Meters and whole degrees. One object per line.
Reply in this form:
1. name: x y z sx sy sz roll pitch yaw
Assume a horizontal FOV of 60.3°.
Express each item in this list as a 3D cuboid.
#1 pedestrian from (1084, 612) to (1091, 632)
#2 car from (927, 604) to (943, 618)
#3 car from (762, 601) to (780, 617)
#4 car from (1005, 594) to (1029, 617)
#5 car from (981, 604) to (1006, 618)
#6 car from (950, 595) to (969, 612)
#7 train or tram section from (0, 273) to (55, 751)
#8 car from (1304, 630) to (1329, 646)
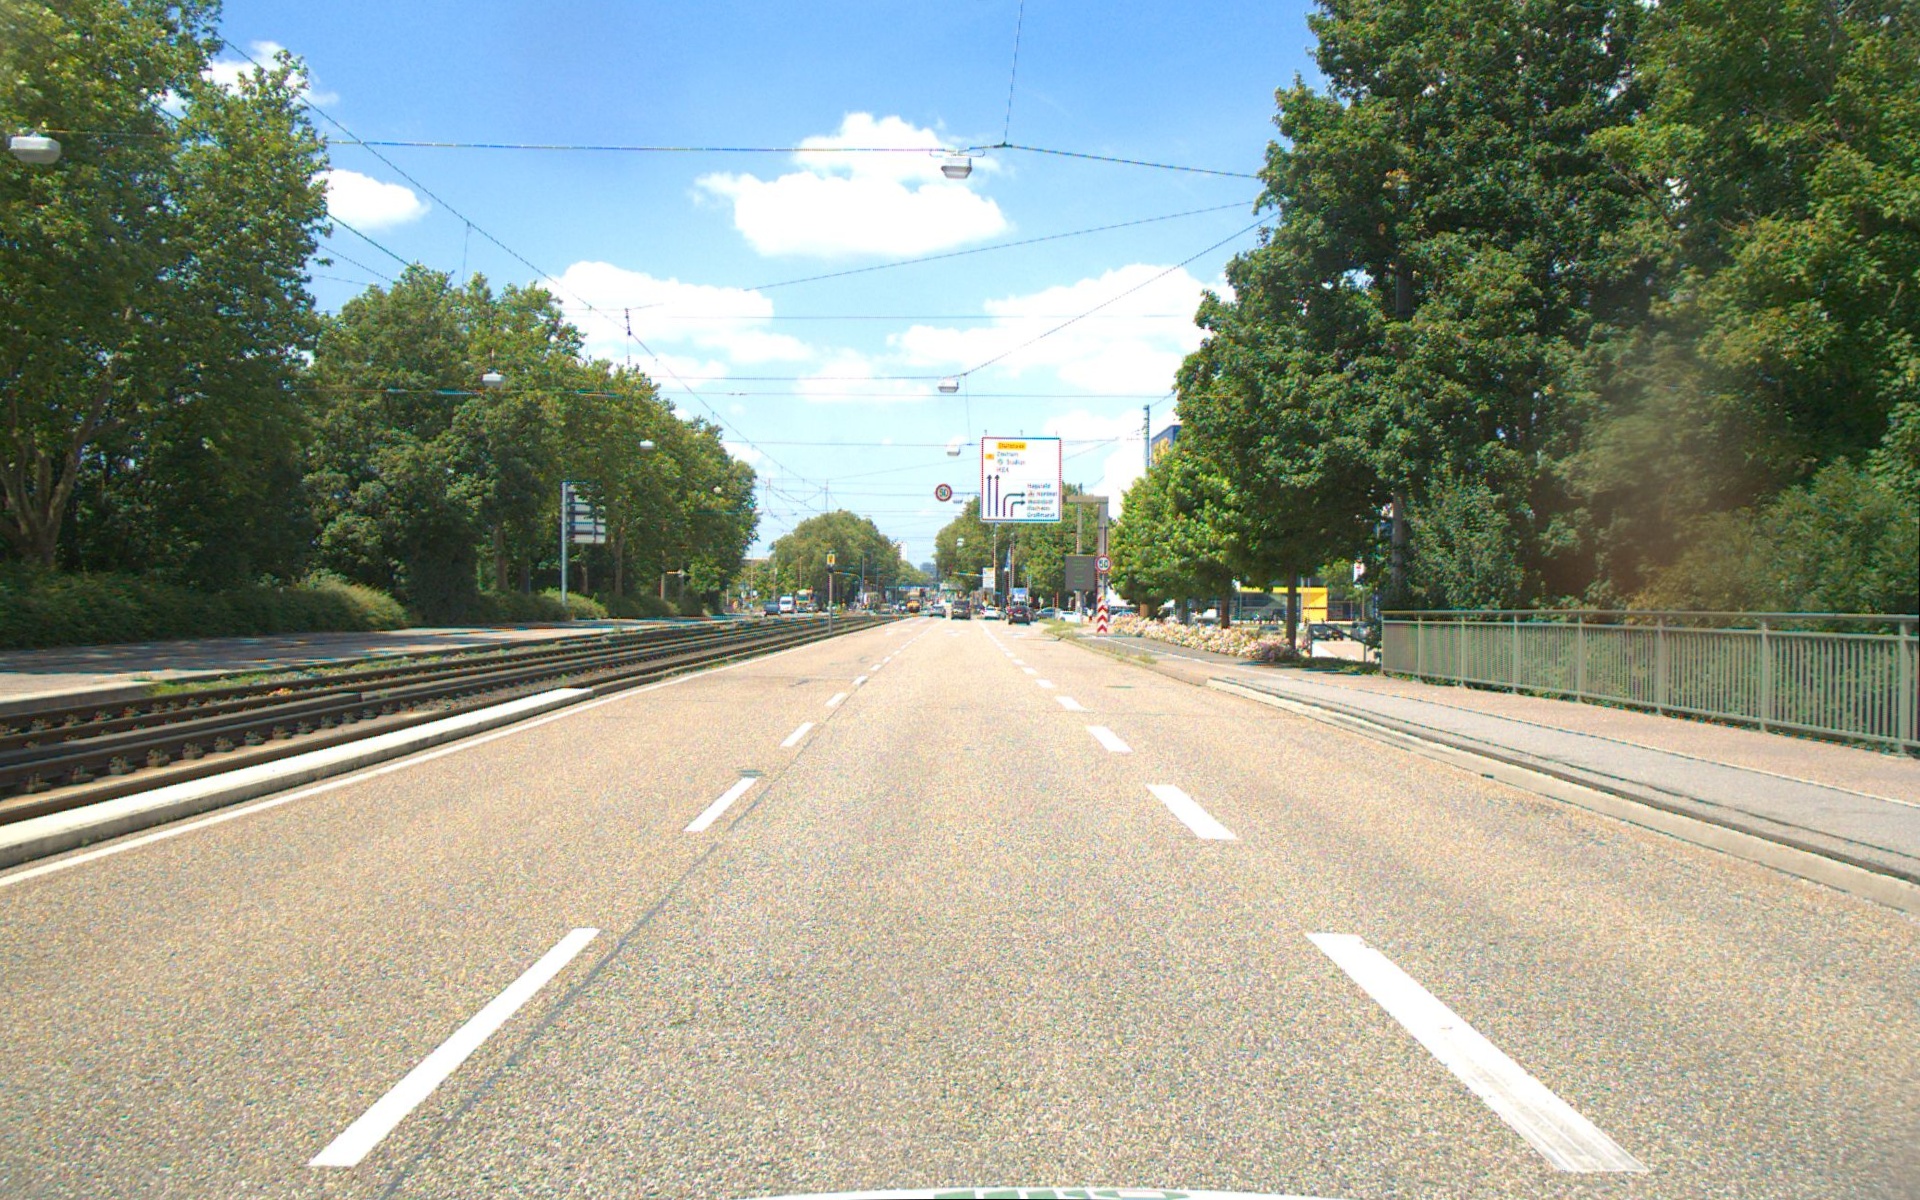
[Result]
1. pedestrian: 12.089 2.073 156.889 0.568 1.823 0.589 2 0 -2
2. car: -3.050 1.268 199.284 1.805 1.577 3.775 3 0 -2
3. car: -20.698 0.984 181.225 1.611 1.577 4.215 2 0 -2
4. car: 4.794 0.443 139.488 1.861 1.837 3.976 2 0 -1
5. car: 4.071 1.343 198.675 1.651 1.577 3.983 2 0 22
6. car: -0.084 0.367 166.857 1.838 1.566 3.776 2 0 -1
7. train or tram section: -9.846 -0.746 8.464 2.976 4.213 13.979 0 0 -1
8. car: 35.967 3.858 167.155 1.539 1.508 3.887 2 0 -2
